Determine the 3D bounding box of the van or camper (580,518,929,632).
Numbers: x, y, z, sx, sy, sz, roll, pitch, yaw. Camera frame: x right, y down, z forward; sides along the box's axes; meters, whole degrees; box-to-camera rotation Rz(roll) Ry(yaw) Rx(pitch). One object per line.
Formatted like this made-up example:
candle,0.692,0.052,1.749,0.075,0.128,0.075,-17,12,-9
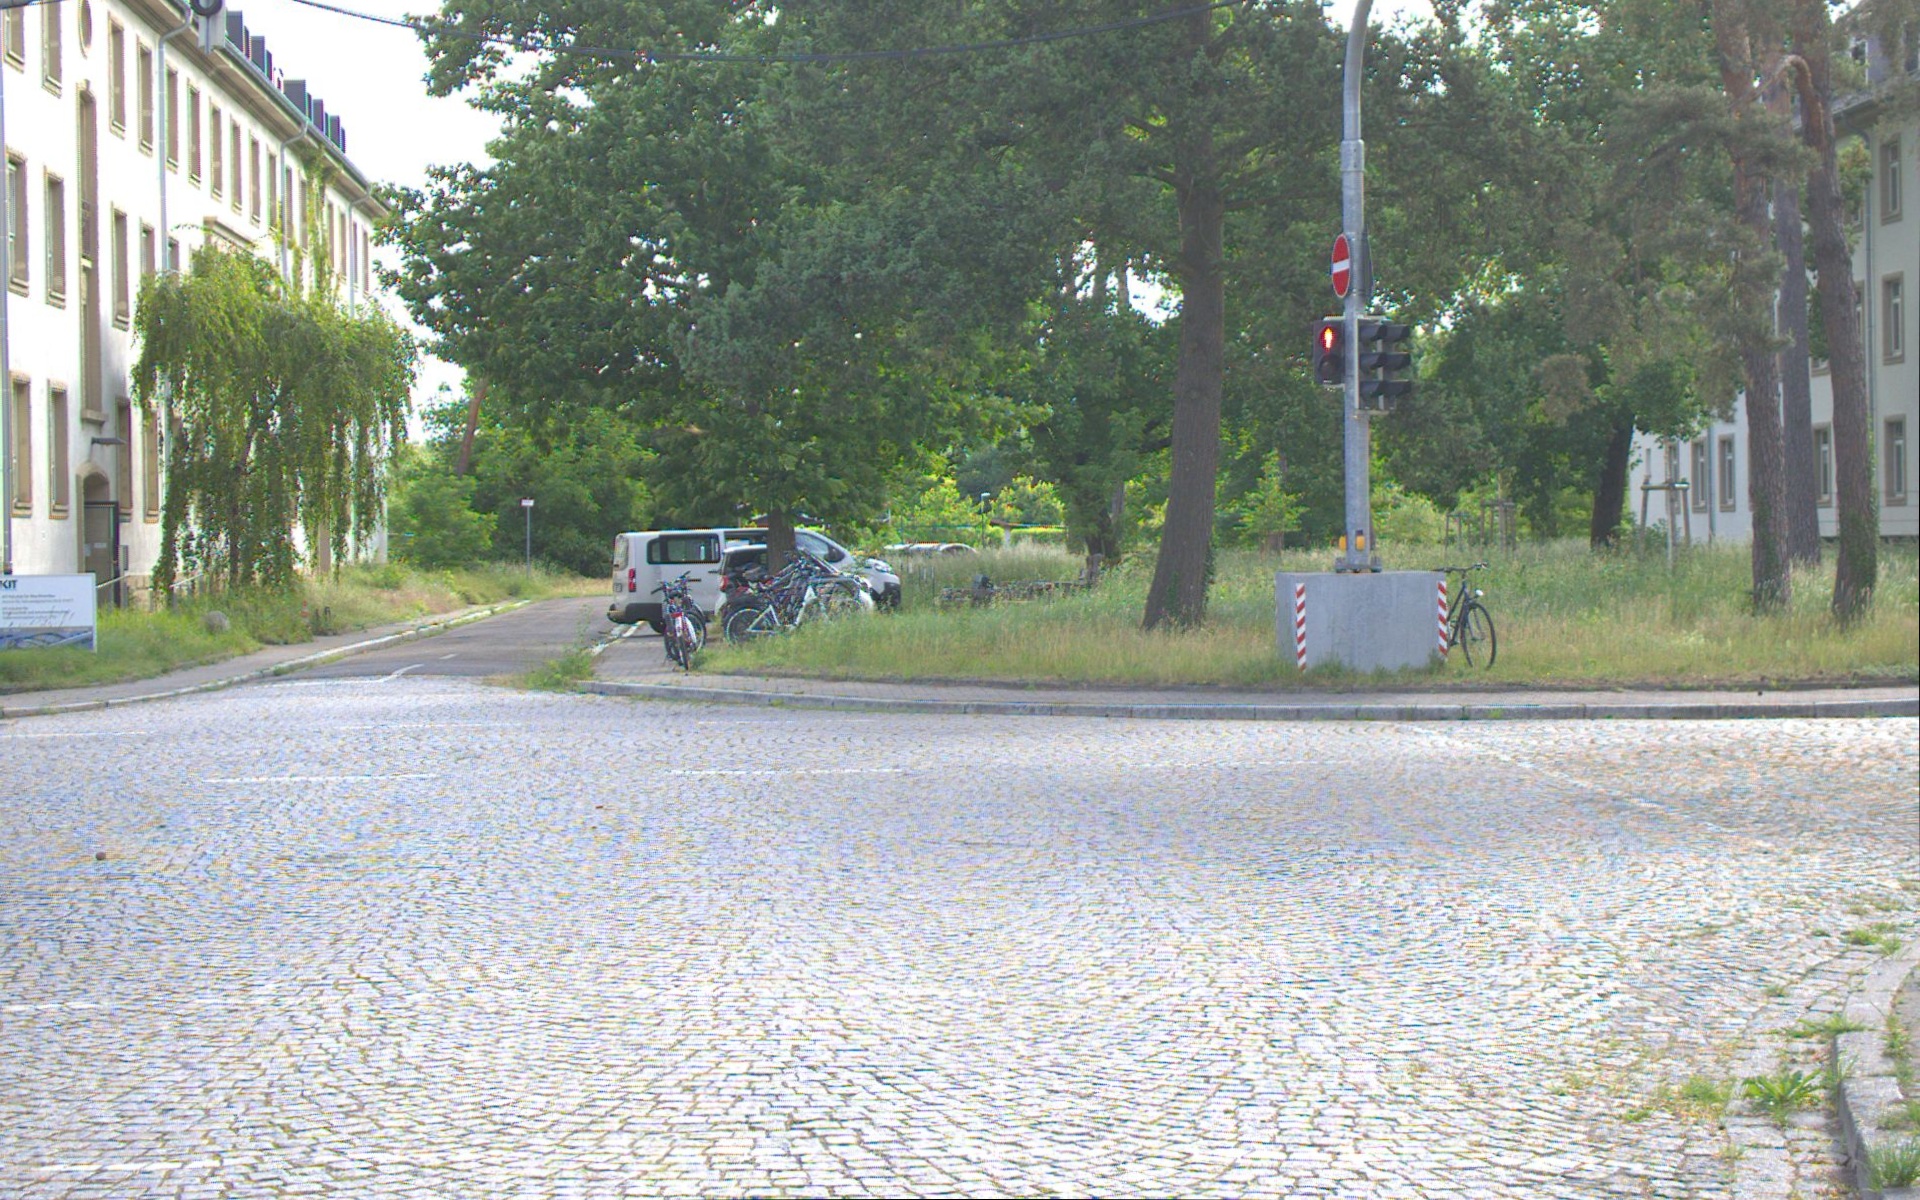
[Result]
van or camper,-3.755,-0.476,62.695,6.030,1.942,2.001,-1,1,-17

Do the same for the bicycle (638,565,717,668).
bicycle,-3.311,0.181,40.439,0.725,1.104,2.462,-5,1,-2

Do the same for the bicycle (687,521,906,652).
bicycle,-2.190,-0.195,45.979,2.775,1.688,1.120,-1,1,-11

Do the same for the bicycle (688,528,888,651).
bicycle,-2.468,-0.156,49.536,2.775,1.688,1.120,1,1,1

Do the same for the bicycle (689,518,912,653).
bicycle,-2.090,-0.202,44.788,2.775,1.688,1.120,-1,1,-9

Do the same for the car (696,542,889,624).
car,-2.901,-0.307,59.161,3.137,1.349,1.620,-1,1,-9

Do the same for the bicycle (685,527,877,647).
bicycle,-2.636,-0.192,50.867,2.775,1.688,1.120,1,1,-2

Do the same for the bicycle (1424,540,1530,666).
bicycle,4.992,0.011,33.357,0.724,1.165,2.737,1,1,3
